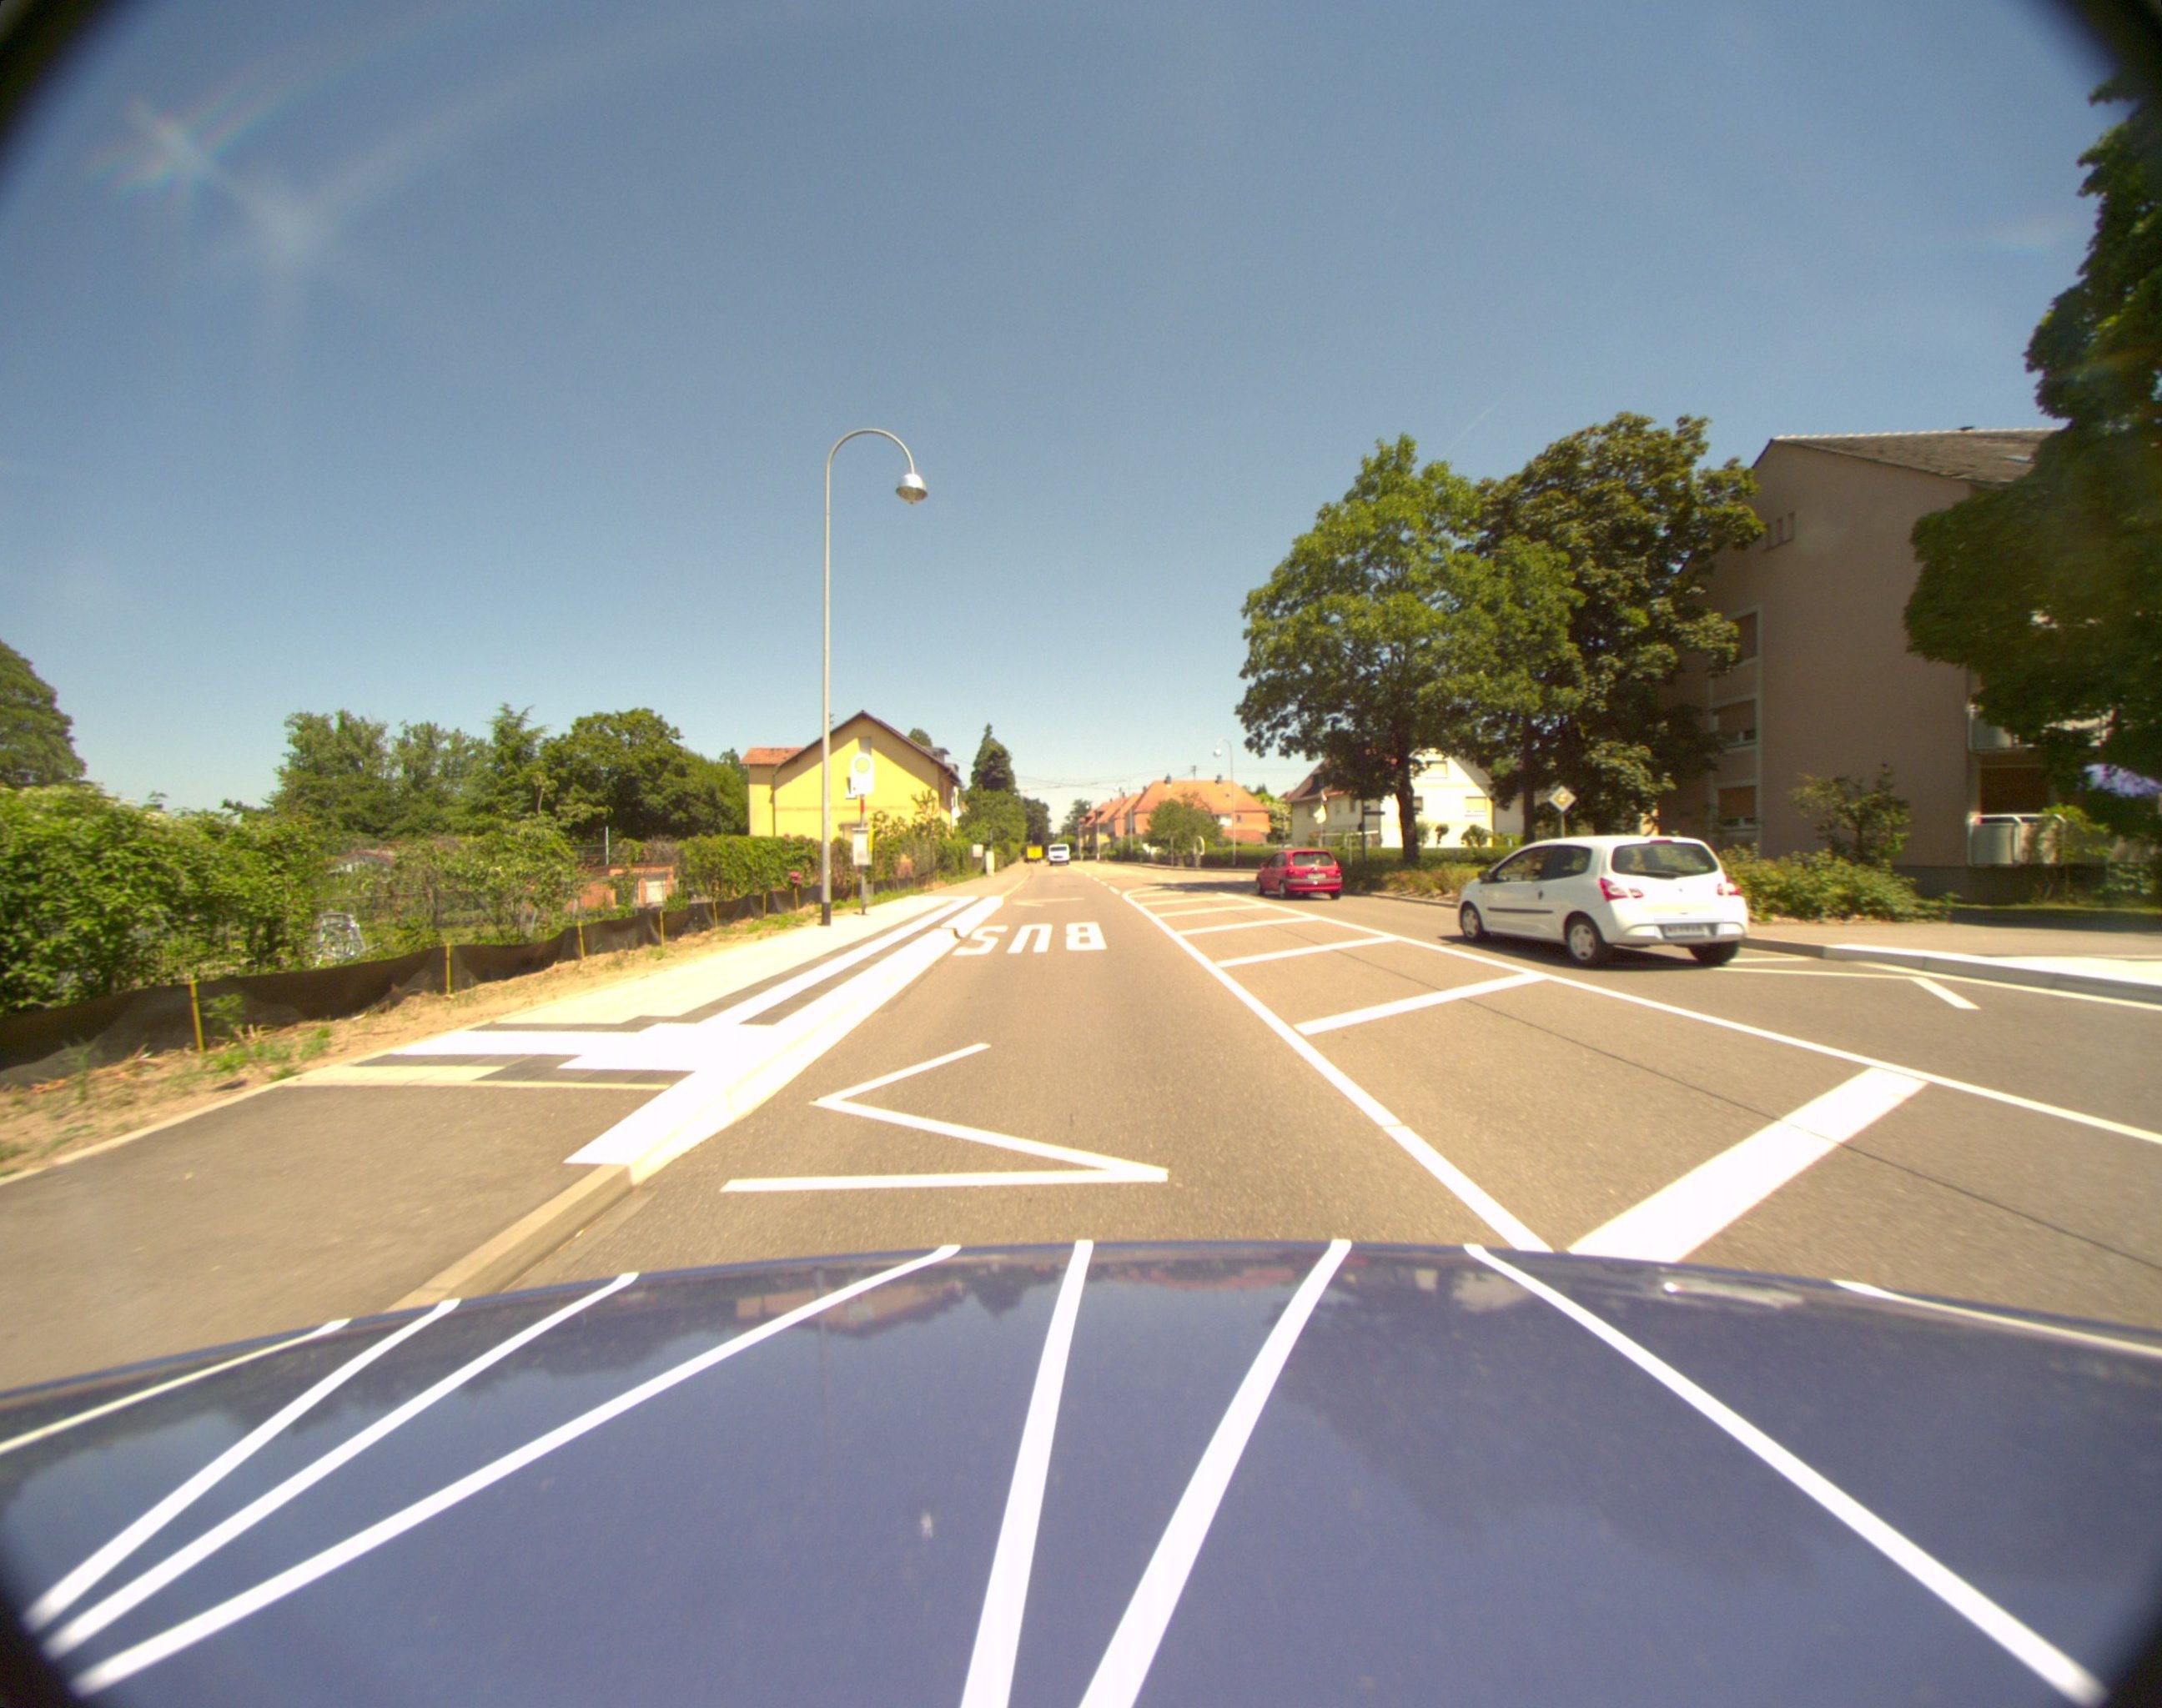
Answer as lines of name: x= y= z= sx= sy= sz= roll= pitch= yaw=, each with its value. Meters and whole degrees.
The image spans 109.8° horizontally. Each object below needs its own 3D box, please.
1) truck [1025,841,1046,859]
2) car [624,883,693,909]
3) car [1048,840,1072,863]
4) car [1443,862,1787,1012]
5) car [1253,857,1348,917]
truck: x=-6.176 y=-0.507 z=102.569 sx=2.020 sy=2.295 sz=6.171 roll=-4 pitch=0 yaw=-10
car: x=-31.315 y=3.093 z=56.374 sx=3.997 sy=1.678 sz=1.885 roll=-3 pitch=0 yaw=1
car: x=-2.050 y=-0.201 z=73.056 sx=1.999 sy=2.002 sz=4.385 roll=-3 pitch=0 yaw=-4
car: x=6.389 y=0.879 z=9.667 sx=1.695 sy=1.451 sz=3.639 roll=-3 pitch=0 yaw=-2
car: x=6.247 y=0.880 z=22.028 sx=1.554 sy=1.442 sz=3.689 roll=-3 pitch=1 yaw=-2
